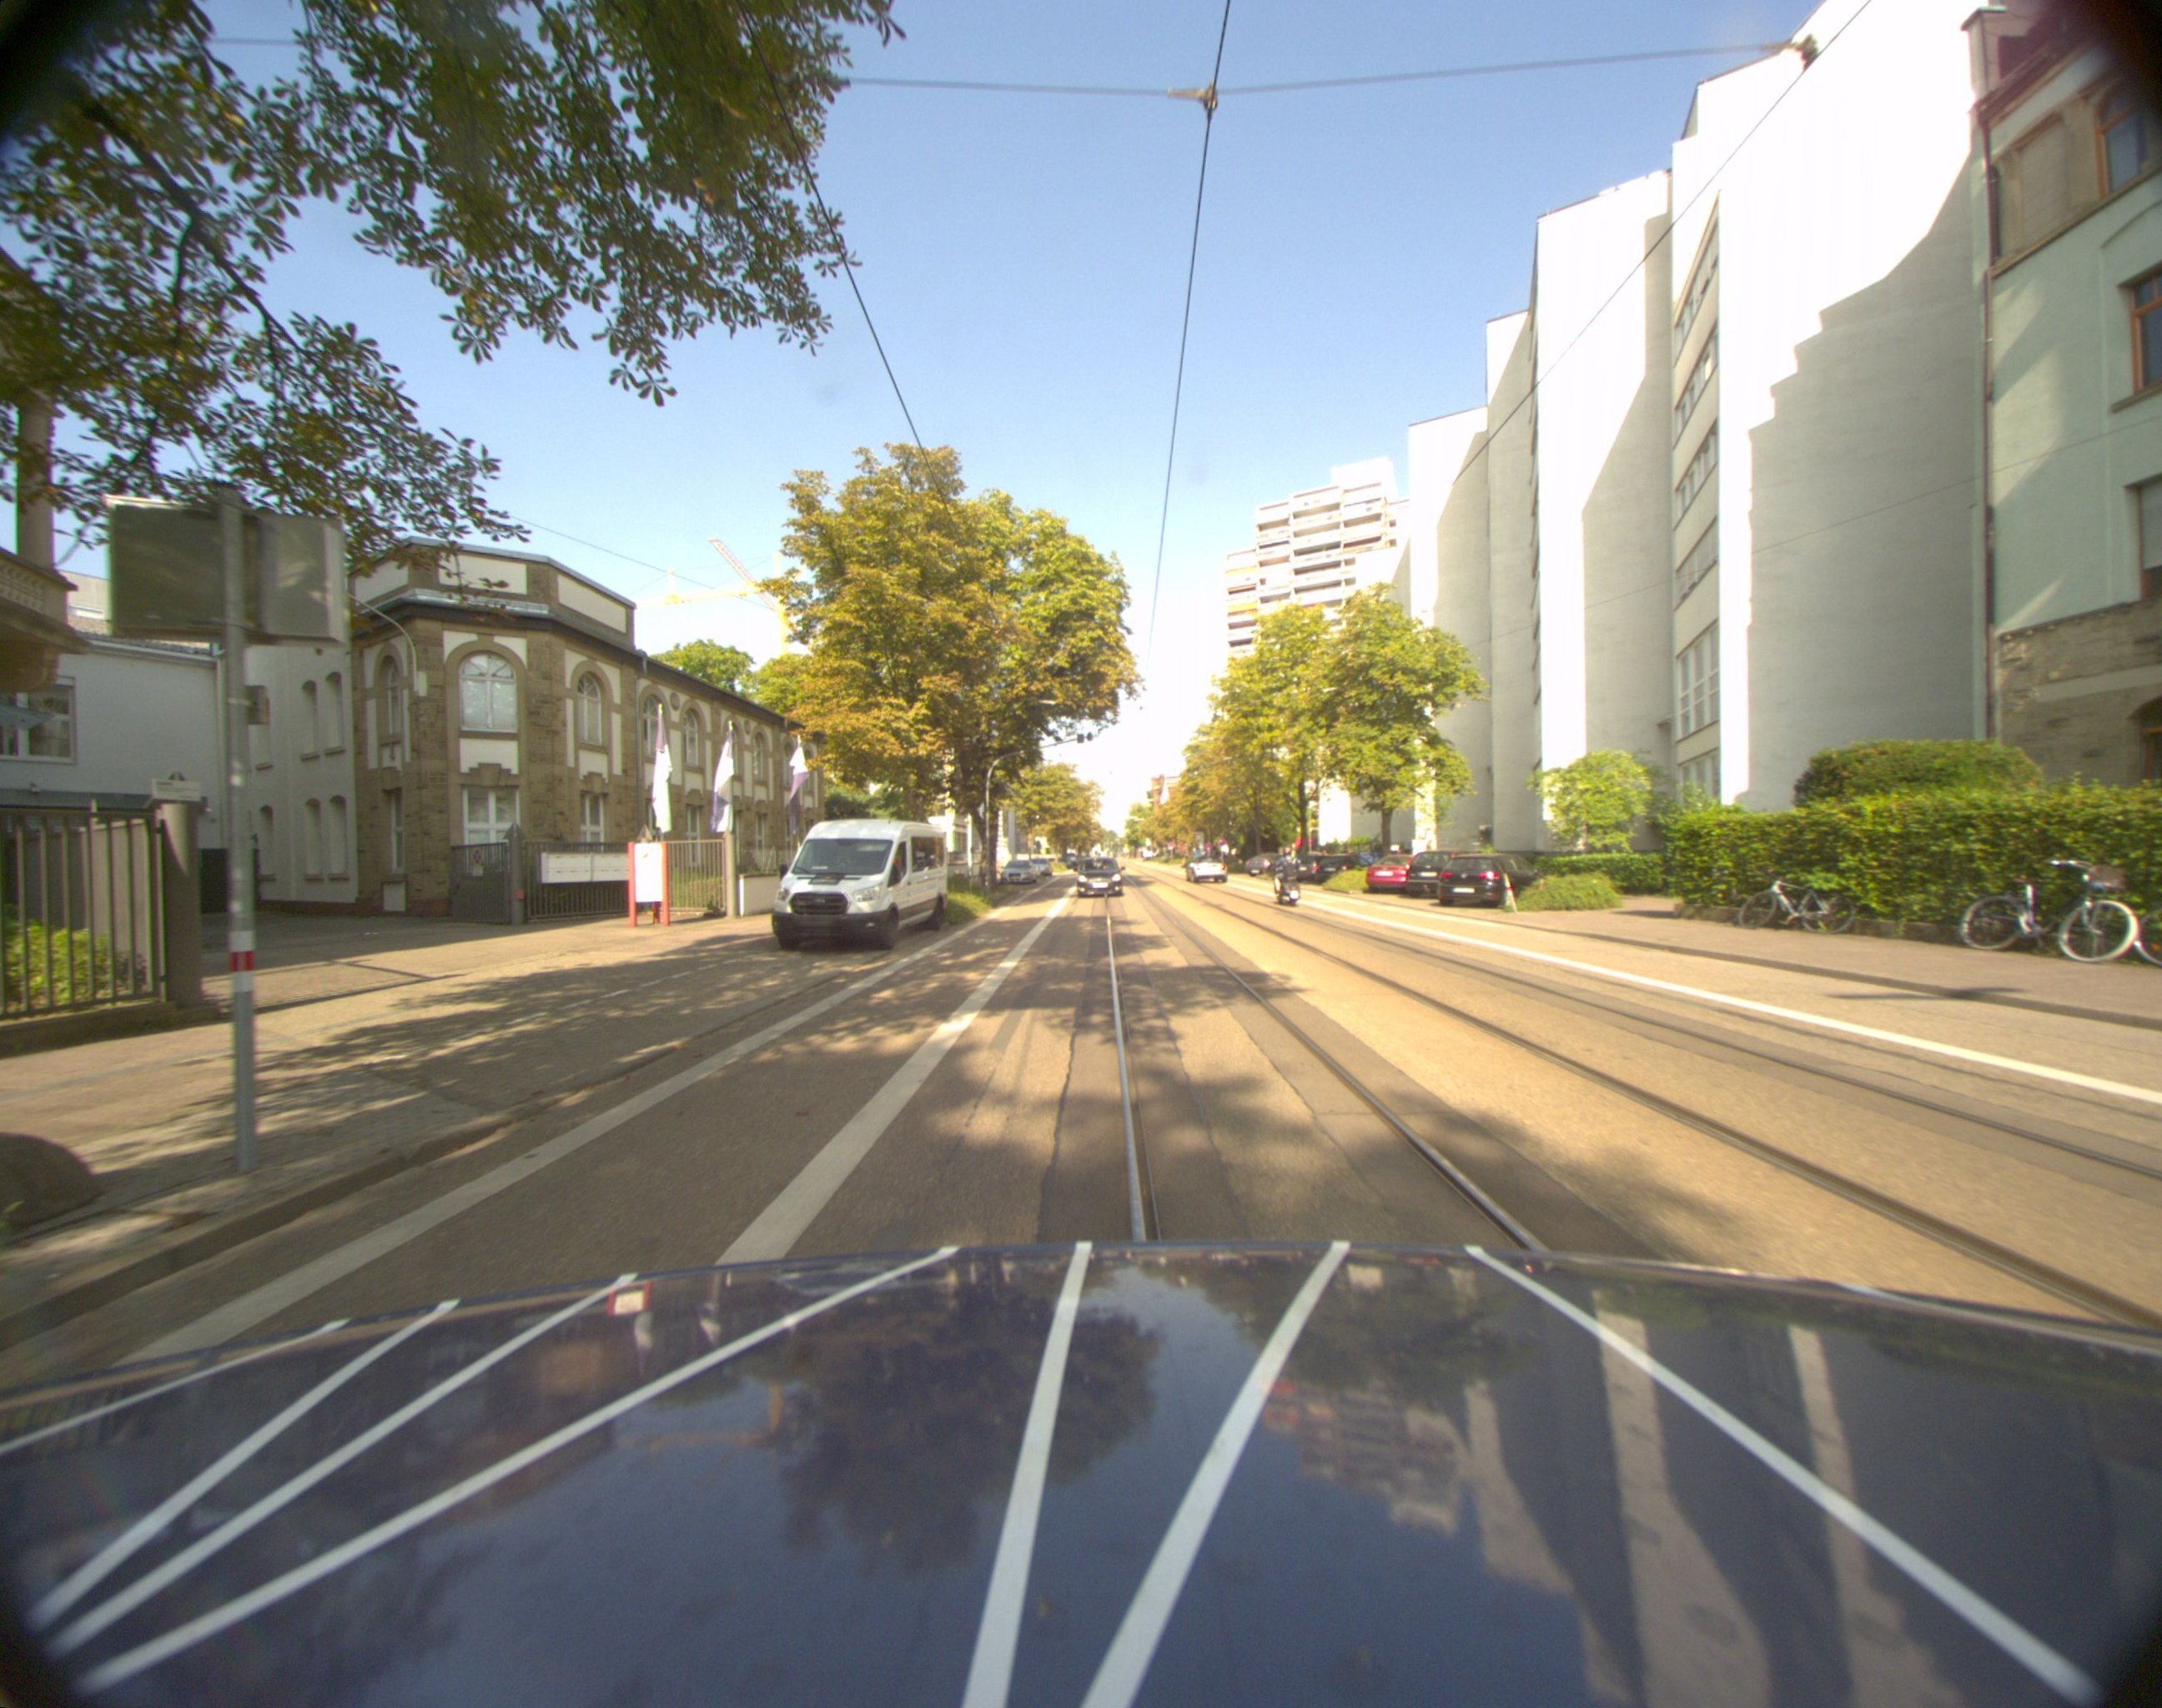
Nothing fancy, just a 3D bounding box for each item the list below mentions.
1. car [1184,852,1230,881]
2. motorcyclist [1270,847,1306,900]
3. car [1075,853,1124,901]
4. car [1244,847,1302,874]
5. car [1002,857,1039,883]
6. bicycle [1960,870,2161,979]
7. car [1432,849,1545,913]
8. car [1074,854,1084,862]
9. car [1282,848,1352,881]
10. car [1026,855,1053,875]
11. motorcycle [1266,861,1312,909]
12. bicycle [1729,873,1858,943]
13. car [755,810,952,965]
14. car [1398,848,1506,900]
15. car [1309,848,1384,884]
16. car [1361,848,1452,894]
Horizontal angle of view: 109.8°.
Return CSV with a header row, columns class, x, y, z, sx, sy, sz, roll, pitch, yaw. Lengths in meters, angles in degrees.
class,x,y,z,sx,sy,sz,roll,pitch,yaw
car,6.478,0.616,39.380,1.757,1.349,3.788,-1,0,1
motorcyclist,5.805,0.537,21.327,0.816,1.445,0.888,-1,1,4
car,0.702,0.787,28.156,1.610,1.515,4.357,-2,1,2
car,11.830,0.375,46.687,1.767,1.518,4.008,0,1,43
car,-3.432,0.902,43.754,1.757,1.349,3.788,-1,0,1
bicycle,11.288,0.757,8.774,0.425,1.081,1.677,-1,1,4
car,11.270,0.667,20.890,1.767,1.518,4.008,0,1,43
car,-0.381,0.690,141.111,1.757,1.349,3.788,-1,0,1
car,11.786,0.475,37.833,1.767,1.518,4.008,0,1,43
car,-3.086,0.812,57.347,1.757,1.349,3.788,-1,0,1
motorcycle,5.810,0.826,21.327,0.816,1.235,2.202,-1,1,4
bicycle,11.278,0.826,12.110,0.425,0.972,1.770,-1,1,1
car,-4.235,0.525,15.405,1.998,2.526,5.868,1,1,2
car,12.087,0.585,24.653,4.008,1.518,1.767,-1,1,-42
car,12.264,0.514,34.962,1.767,1.518,4.008,0,1,43
car,11.832,0.571,27.506,1.767,1.518,4.008,0,1,43
